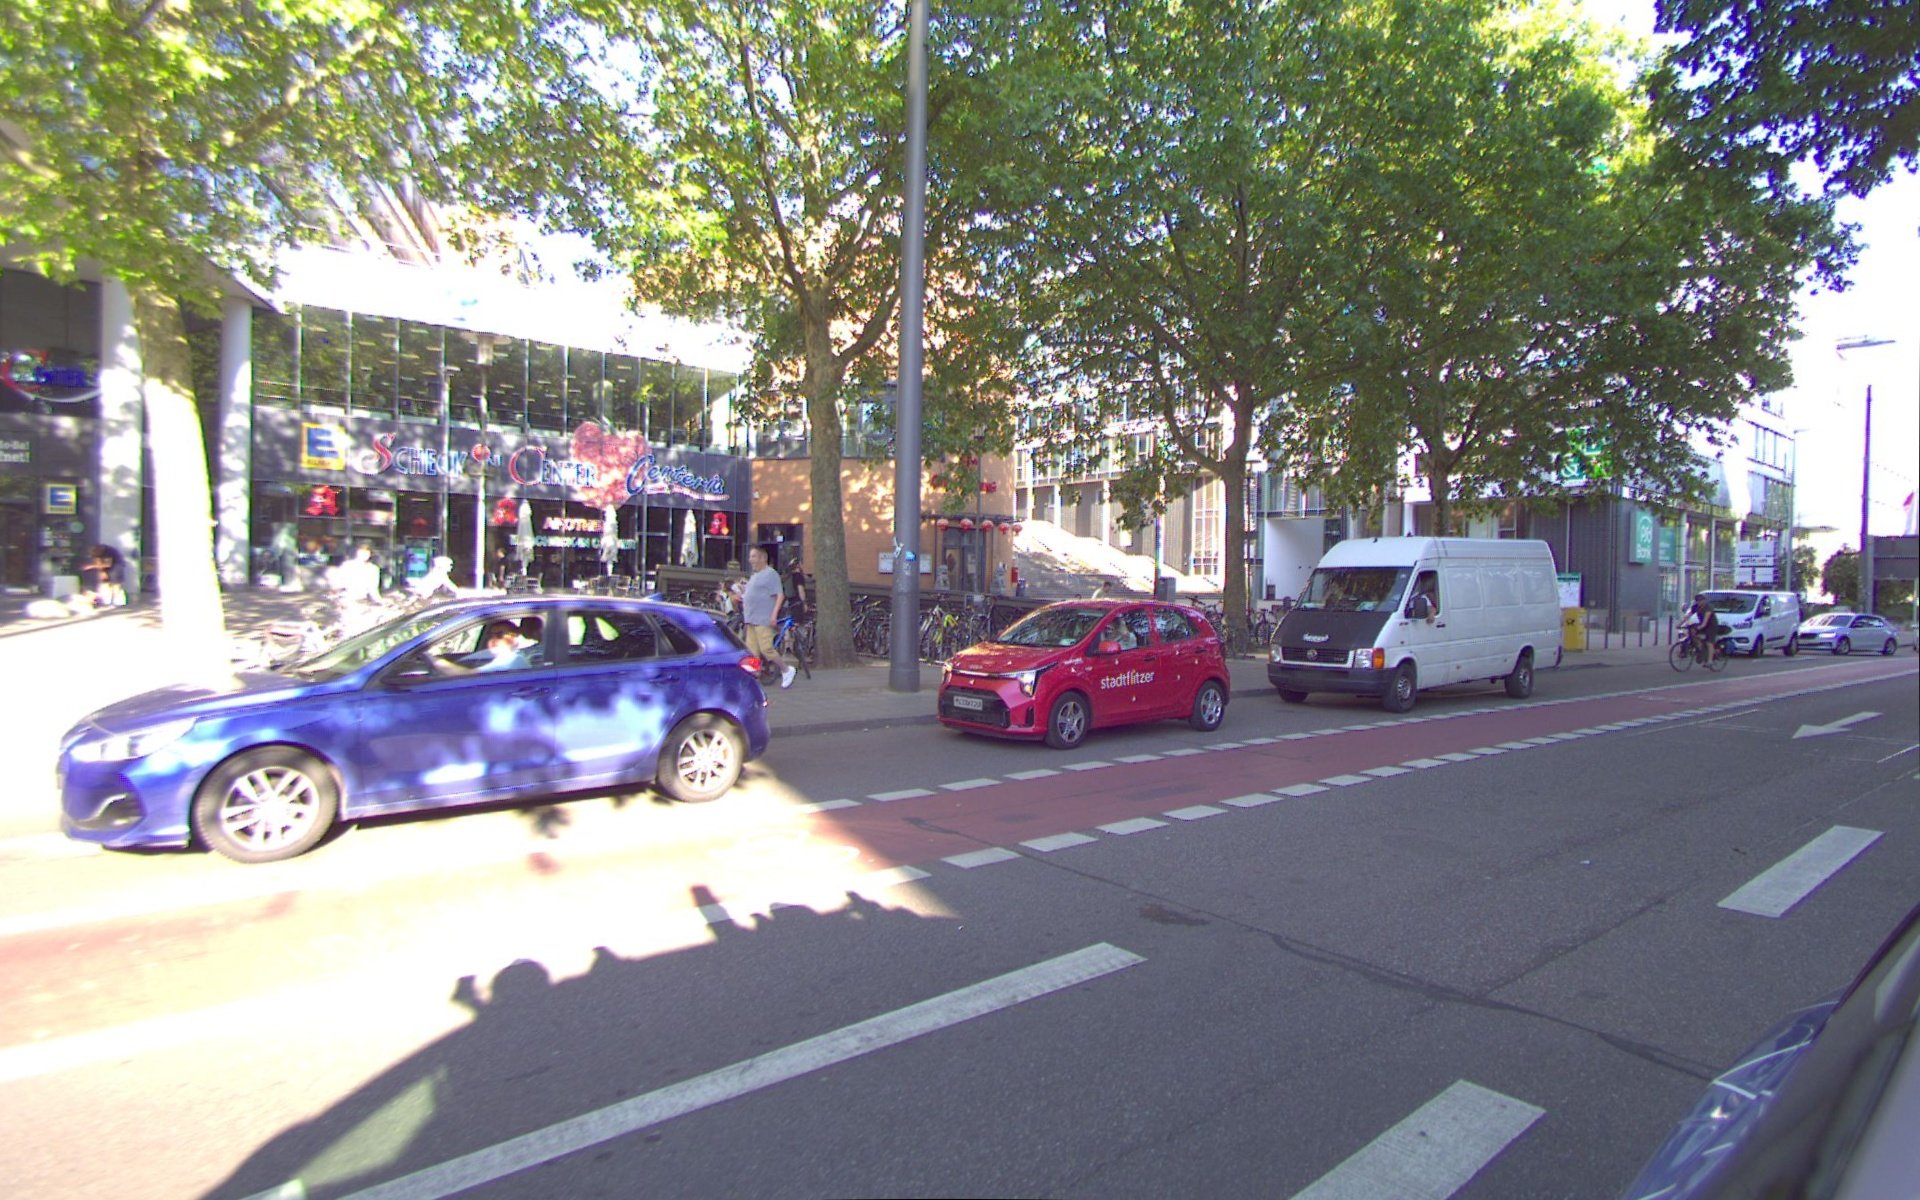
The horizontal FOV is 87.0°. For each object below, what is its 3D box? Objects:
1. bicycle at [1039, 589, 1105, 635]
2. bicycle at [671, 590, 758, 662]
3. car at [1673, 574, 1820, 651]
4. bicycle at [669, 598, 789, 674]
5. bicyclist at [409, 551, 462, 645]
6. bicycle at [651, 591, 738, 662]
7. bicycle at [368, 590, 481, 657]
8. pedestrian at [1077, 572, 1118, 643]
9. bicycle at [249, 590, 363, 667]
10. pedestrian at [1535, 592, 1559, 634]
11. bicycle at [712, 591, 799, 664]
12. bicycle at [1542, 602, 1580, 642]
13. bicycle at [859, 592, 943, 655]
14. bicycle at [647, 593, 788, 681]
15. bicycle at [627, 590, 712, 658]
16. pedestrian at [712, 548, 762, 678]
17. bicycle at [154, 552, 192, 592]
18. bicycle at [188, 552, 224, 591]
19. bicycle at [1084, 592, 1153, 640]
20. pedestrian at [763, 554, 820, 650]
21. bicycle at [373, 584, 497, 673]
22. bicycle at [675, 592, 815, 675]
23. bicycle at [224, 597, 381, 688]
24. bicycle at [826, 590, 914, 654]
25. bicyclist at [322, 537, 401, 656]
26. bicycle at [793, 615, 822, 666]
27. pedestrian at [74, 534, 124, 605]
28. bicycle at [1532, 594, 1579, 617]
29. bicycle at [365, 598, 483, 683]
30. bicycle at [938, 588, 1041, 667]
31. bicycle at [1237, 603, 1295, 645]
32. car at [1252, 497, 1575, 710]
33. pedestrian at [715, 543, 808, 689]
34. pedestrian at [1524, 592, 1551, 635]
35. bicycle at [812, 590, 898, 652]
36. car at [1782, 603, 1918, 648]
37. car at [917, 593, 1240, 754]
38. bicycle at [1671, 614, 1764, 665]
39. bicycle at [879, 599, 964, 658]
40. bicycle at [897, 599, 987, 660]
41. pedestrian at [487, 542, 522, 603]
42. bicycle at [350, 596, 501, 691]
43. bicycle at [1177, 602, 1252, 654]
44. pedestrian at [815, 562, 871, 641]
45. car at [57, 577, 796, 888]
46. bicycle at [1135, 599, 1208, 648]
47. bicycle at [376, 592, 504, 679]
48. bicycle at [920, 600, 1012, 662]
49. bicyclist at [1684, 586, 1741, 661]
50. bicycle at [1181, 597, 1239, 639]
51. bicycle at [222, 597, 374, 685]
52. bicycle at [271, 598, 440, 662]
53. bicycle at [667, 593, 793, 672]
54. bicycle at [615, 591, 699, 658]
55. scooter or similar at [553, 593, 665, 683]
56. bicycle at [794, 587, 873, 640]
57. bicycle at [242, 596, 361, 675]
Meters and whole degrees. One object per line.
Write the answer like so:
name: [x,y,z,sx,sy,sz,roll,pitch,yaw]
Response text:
bicycle: [2.841,0.300,25.628,1.622,1.140,0.598,1,1,-32]
bicycle: [-4.176,0.432,17.310,0.420,1.174,1.455,2,1,41]
car: [24.298,0.356,31.201,5.189,2.160,2.130,1,1,-35]
bicycle: [-3.625,0.562,15.943,1.788,1.130,0.610,1,1,-13]
bicyclist: [-9.393,-0.035,18.144,0.804,1.636,0.565,1,1,-25]
bicycle: [-4.600,0.443,17.592,0.420,1.174,1.455,2,1,41]
bicycle: [-9.526,0.416,18.083,1.741,1.140,0.569,1,1,-25]
pedestrian: [3.278,0.173,24.178,0.623,1.651,0.719,1,1,-34]
bicycle: [-9.176,0.396,14.239,1.293,1.038,0.397,1,1,-25]
pedestrian: [22.252,0.497,38.360,0.623,1.542,0.517,1,1,-31]
bicycle: [-3.449,0.442,17.161,0.478,1.174,1.455,2,1,41]
bicycle: [18.605,0.674,31.320,1.511,1.173,0.514,1,1,-39]
bicycle: [-1.109,0.433,19.388,1.626,1.151,0.503,0,1,-41]
bicycle: [-3.270,0.497,13.710,1.788,1.130,0.598,1,1,-13]
bicycle: [-5.169,0.410,18.080,0.420,1.174,1.455,2,1,41]
pedestrian: [-3.197,0.174,14.478,0.644,1.808,0.810,1,1,-14]
bicycle: [-23.435,-0.843,30.147,0.705,1.142,1.921,1,1,-33]
bicycle: [-22.785,-0.866,30.596,0.705,1.142,1.921,1,1,-33]
bicycle: [3.722,0.367,23.726,1.623,1.060,0.597,1,1,-35]
pedestrian: [-3.237,0.027,19.417,0.756,1.779,0.820,1,1,-35]
bicycle: [-7.262,0.377,14.036,1.451,1.174,0.421,0,1,-42]
bicycle: [-3.073,0.481,14.500,1.908,1.130,0.598,1,1,-13]
bicycle: [-8.033,0.498,12.405,1.546,1.038,0.461,0,1,-44]
bicycle: [-1.723,0.411,19.494,1.662,1.174,0.479,1,1,-37]
bicyclist: [-9.276,-0.063,15.705,0.834,1.789,0.754,1,1,-12]
bicycle: [-2.543,0.664,16.829,0.391,0.770,1.114,1,1,-13]
pedestrian: [-20.611,-0.725,24.215,0.851,1.661,0.966,1,1,-43]
bicycle: [30.218,0.281,51.369,0.687,1.076,1.879,1,2,-38]
bicycle: [-7.786,0.569,14.736,1.450,1.174,0.421,1,1,-40]
bicycle: [0.533,0.446,17.450,1.843,1.280,0.596,0,1,-41]
bicycle: [8.018,0.622,26.475,1.624,1.060,0.597,1,1,-37]
car: [7.353,0.058,15.962,6.443,2.759,1.998,0,0,-39]
pedestrian: [-2.575,0.180,13.135,0.872,1.808,0.796,2,1,43]
pedestrian: [21.647,0.506,37.938,0.625,1.562,0.579,1,1,-31]
bicycle: [-2.061,0.399,19.927,1.662,1.174,0.479,1,1,-37]
car: [30.559,0.880,34.759,3.937,1.437,1.791,1,1,-19]
car: [1.395,0.680,11.162,3.558,1.482,1.561,0,0,-41]
bicycle: [17.675,0.913,23.611,2.082,1.135,0.552,1,1,-16]
bicycle: [-0.713,0.513,18.979,1.626,1.044,0.503,0,1,-41]
bicycle: [-0.319,0.512,18.465,1.626,1.044,0.596,0,1,-41]
pedestrian: [-14.370,-0.874,31.977,0.834,1.867,1.002,1,1,-15]
bicycle: [-6.465,0.503,12.264,1.542,1.070,0.630,1,1,-35]
bicycle: [5.471,0.595,21.728,1.622,1.060,0.598,1,1,-32]
pedestrian: [-2.717,0.033,23.437,1.000,1.779,0.789,1,1,-35]
car: [-3.385,0.637,6.952,4.143,1.482,1.768,0,2,-41]
bicycle: [4.752,0.518,22.727,1.622,1.060,0.598,1,1,-32]
bicycle: [-6.922,0.451,13.518,1.451,1.095,0.421,0,1,-42]
bicycle: [0.120,0.532,17.952,1.626,1.044,0.596,0,1,-41]
bicyclist: [17.589,0.540,23.655,0.699,1.709,0.754,1,1,-17]
bicycle: [6.651,0.476,26.895,1.624,1.060,0.597,1,1,-37]
bicycle: [-8.356,0.487,12.813,1.546,1.038,0.461,0,1,-44]
bicycle: [-9.342,0.462,15.710,2.138,0.945,0.669,1,1,-13]
bicycle: [-3.430,0.484,15.136,1.788,1.130,0.598,1,1,-13]
bicycle: [-5.542,0.426,18.574,0.420,1.174,1.455,2,1,41]
scooter or similar: [-4.871,0.514,14.039,1.249,1.156,0.905,-2,0,36]
bicycle: [-2.906,0.311,23.312,1.736,1.174,0.578,1,1,-36]
bicycle: [-8.940,0.475,13.782,1.293,1.038,0.397,1,1,-25]
